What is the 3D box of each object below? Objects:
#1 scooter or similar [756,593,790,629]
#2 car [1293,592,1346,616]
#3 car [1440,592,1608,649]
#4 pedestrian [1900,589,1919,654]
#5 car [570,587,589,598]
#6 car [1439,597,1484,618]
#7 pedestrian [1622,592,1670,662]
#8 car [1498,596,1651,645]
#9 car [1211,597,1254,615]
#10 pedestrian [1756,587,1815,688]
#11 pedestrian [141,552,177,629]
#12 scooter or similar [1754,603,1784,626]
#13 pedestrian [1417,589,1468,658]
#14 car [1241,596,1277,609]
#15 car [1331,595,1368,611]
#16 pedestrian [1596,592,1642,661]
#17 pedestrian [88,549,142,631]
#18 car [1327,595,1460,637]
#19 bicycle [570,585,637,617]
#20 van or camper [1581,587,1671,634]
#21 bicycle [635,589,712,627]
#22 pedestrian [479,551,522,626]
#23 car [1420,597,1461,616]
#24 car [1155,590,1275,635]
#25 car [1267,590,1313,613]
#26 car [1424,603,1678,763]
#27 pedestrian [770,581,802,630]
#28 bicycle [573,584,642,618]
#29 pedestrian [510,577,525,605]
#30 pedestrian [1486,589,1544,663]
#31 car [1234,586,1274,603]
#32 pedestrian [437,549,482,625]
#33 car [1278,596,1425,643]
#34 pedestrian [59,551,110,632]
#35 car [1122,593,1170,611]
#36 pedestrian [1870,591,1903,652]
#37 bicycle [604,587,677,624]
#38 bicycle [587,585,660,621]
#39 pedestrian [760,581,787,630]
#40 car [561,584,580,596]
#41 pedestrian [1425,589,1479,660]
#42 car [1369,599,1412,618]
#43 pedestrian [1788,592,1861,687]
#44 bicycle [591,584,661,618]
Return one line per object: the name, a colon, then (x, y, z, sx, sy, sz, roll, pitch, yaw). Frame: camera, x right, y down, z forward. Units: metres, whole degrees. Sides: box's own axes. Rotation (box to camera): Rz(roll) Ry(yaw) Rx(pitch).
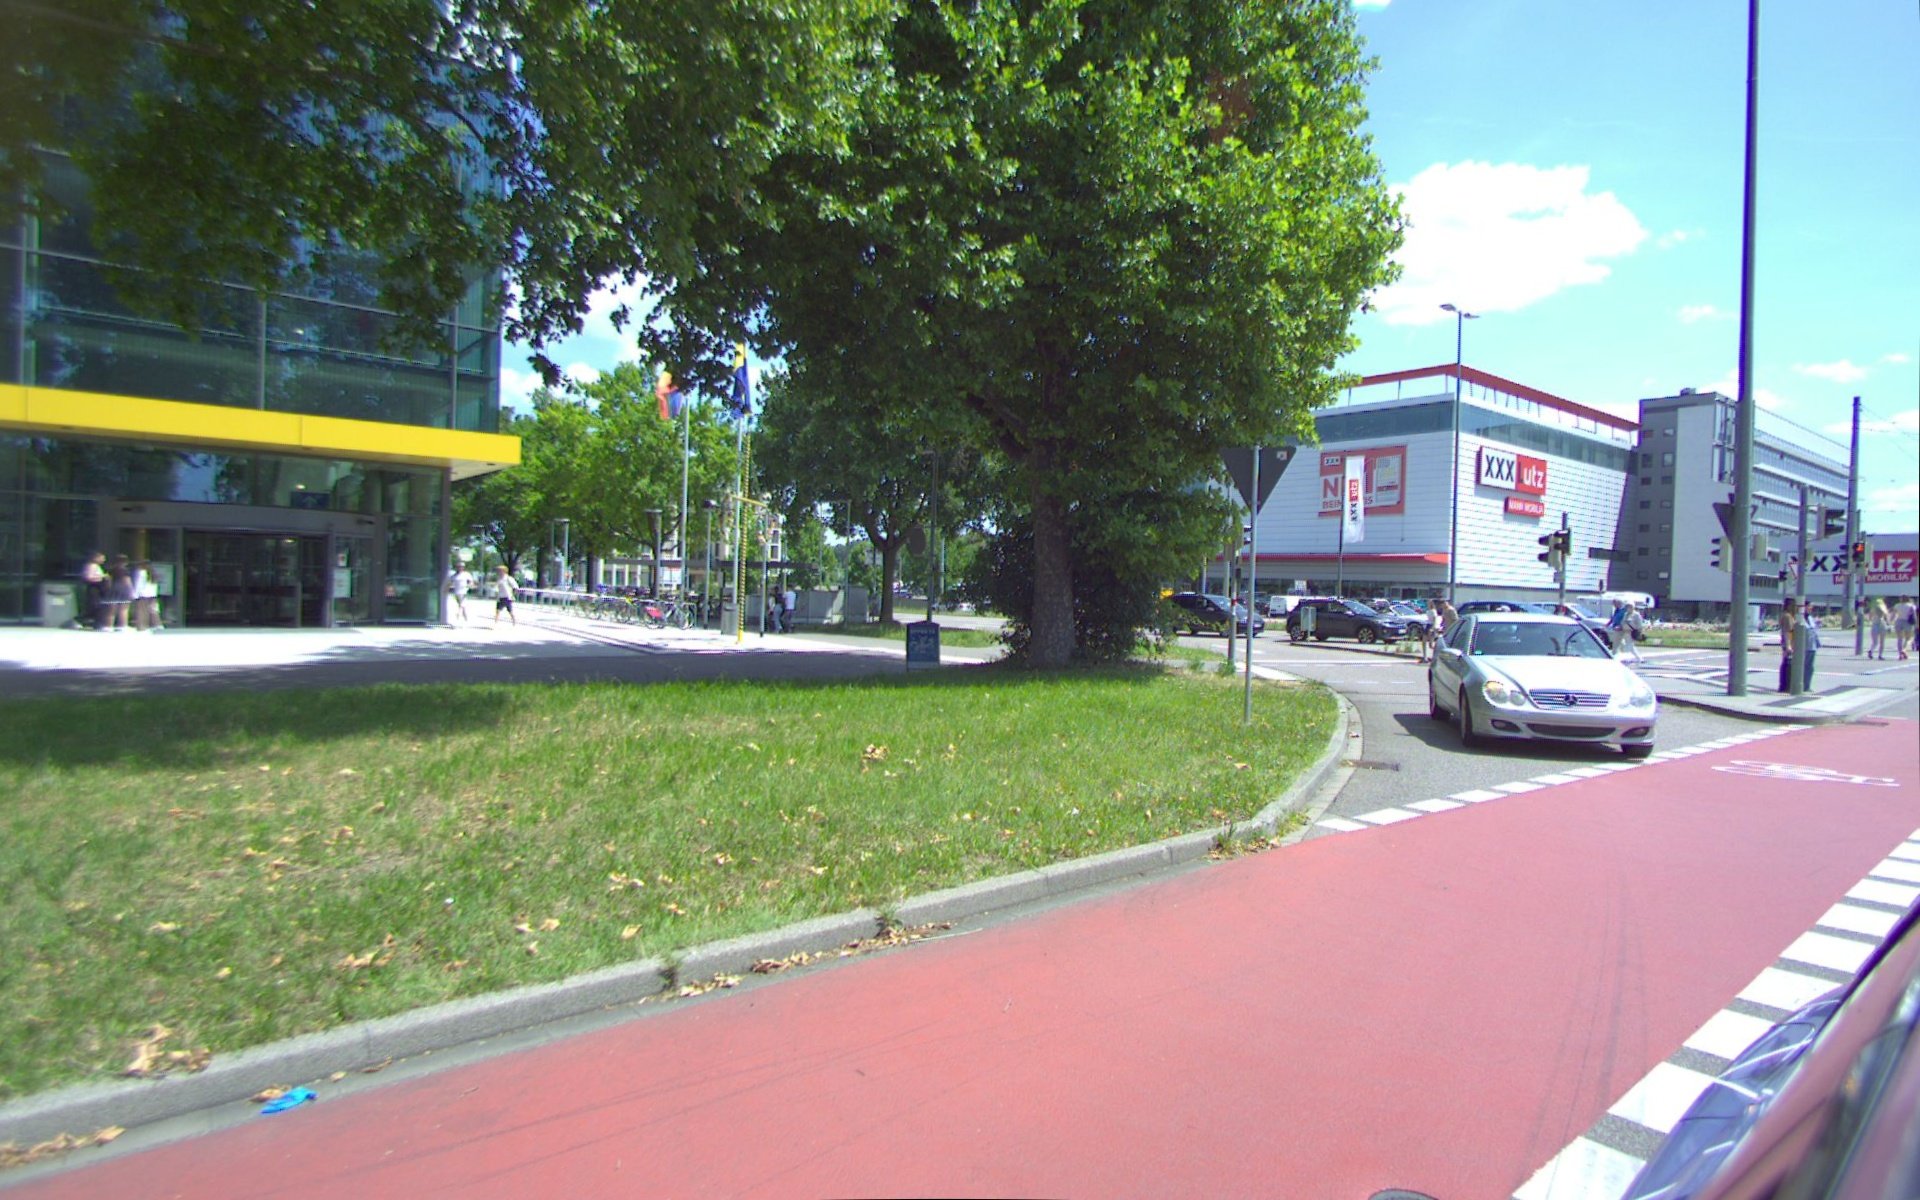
scooter or similar: (-6.461, 0.357, 34.922, 0.716, 1.213, 1.076, 0, 0, -40)
car: (31.552, 0.368, 88.671, 4.872, 2.039, 1.999, 0, 0, -36)
car: (17.022, 0.562, 30.692, 1.963, 1.575, 3.999, -1, 1, -36)
pedestrian: (25.103, 0.556, 26.550, 0.628, 1.687, 0.529, 1, 0, -35)
car: (-54.824, -1.059, 145.833, 1.728, 1.632, 3.547, 0, 0, -37)
car: (46.912, 0.664, 94.579, 4.436, 1.918, 1.999, 0, 0, -37)
pedestrian: (16.588, 0.632, 24.469, 0.846, 1.658, 0.608, -1, 1, -27)
car: (19.631, 0.622, 32.448, 1.772, 1.414, 3.831, 1, 1, -40)
car: (24.233, 0.529, 89.883, 3.932, 1.565, 1.851, 0, 0, -43)
pedestrian: (14.414, 0.636, 17.676, 0.614, 1.704, 0.724, 1, 0, -42)
pedestrian: (-18.075, -0.210, 22.853, 0.575, 1.693, 0.608, 0, 0, -34)
scooter or similar: (42.088, 0.751, 52.636, 1.253, 1.140, 0.481, -3, 0, -10)
pedestrian: (12.072, 0.577, 25.320, 0.834, 1.680, 0.799, 0, 0, -22)
car: (31.324, 0.237, 105.991, 3.927, 1.327, 1.693, 0, 0, -38)
car: (43.778, 0.346, 113.663, 4.438, 1.714, 1.998, 0, 0, -39)
pedestrian: (16.263, 0.630, 24.991, 0.846, 1.658, 0.605, -1, 1, -27)
pedestrian: (-18.487, -0.212, 22.149, 0.726, 1.757, 0.784, 1, 0, -28)
car: (15.864, 0.552, 37.210, 1.768, 1.415, 4.236, -2, 1, -31)
bicycle: (-13.738, 0.035, 39.093, 0.798, 1.214, 2.400, 1, 1, 37)
van or camper: (45.038, 0.651, 68.328, 7.472, 2.983, 2.716, 0, 0, -37)
bicycle: (-9.257, 0.249, 32.796, 0.798, 1.159, 2.400, 1, 1, 37)
pedestrian: (-12.749, -0.315, 28.065, 0.727, 2.039, 0.791, 1, 0, 31)
car: (50.422, 0.684, 106.165, 4.436, 1.946, 1.999, 0, 0, -37)
car: (9.838, 0.428, 39.335, 1.828, 1.604, 4.414, -2, 1, -35)
car: (29.531, 0.130, 90.443, 3.926, 2.039, 1.999, 0, 0, -37)
car: (6.540, 0.774, 11.700, 1.710, 1.436, 4.295, 0, 0, 19)
pedestrian: (-5.876, 0.177, 34.194, 0.623, 1.606, 0.918, 1, 0, -44)
bicycle: (-13.239, 0.036, 38.033, 0.798, 1.214, 2.400, 1, 1, 37)
pedestrian: (-25.138, -0.508, 57.474, 0.570, 1.606, 0.767, 1, 0, -44)
pedestrian: (12.772, 0.587, 23.312, 0.834, 1.680, 0.799, 0, 0, -11)
car: (32.441, -0.600, 111.593, 4.436, 1.756, 1.999, 0, 0, -37)
pedestrian: (-13.640, -0.357, 27.595, 0.726, 2.039, 0.792, 1, 0, 28)
car: (13.351, 0.619, 34.762, 1.820, 1.461, 4.411, -2, 1, -38)
pedestrian: (-19.444, -0.200, 22.481, 0.738, 1.757, 0.771, 1, 0, 42)
car: (18.464, 0.203, 100.400, 4.776, 1.723, 1.855, 0, 0, -34)
pedestrian: (24.493, 0.557, 26.752, 0.600, 1.600, 0.529, 1, 0, -35)
bicycle: (-11.014, 0.190, 34.970, 0.798, 1.214, 2.400, 1, 1, 37)
bicycle: (-11.778, 0.104, 35.510, 0.798, 1.214, 2.400, 1, 1, 37)
pedestrian: (-6.237, 0.173, 33.798, 0.623, 1.606, 0.610, 1, 0, -44)
car: (-57.130, -1.451, 148.344, 1.728, 1.632, 3.547, 0, 0, -37)
pedestrian: (11.859, 0.584, 24.403, 0.834, 1.680, 0.799, 0, 0, -22)
car: (42.373, 0.802, 99.648, 4.436, 1.756, 1.999, 0, 0, -37)
pedestrian: (15.272, 0.672, 17.873, 0.754, 1.626, 0.895, 0, 0, -42)
bicycle: (-12.246, 0.037, 37.198, 0.798, 1.214, 2.400, 1, 1, 37)
